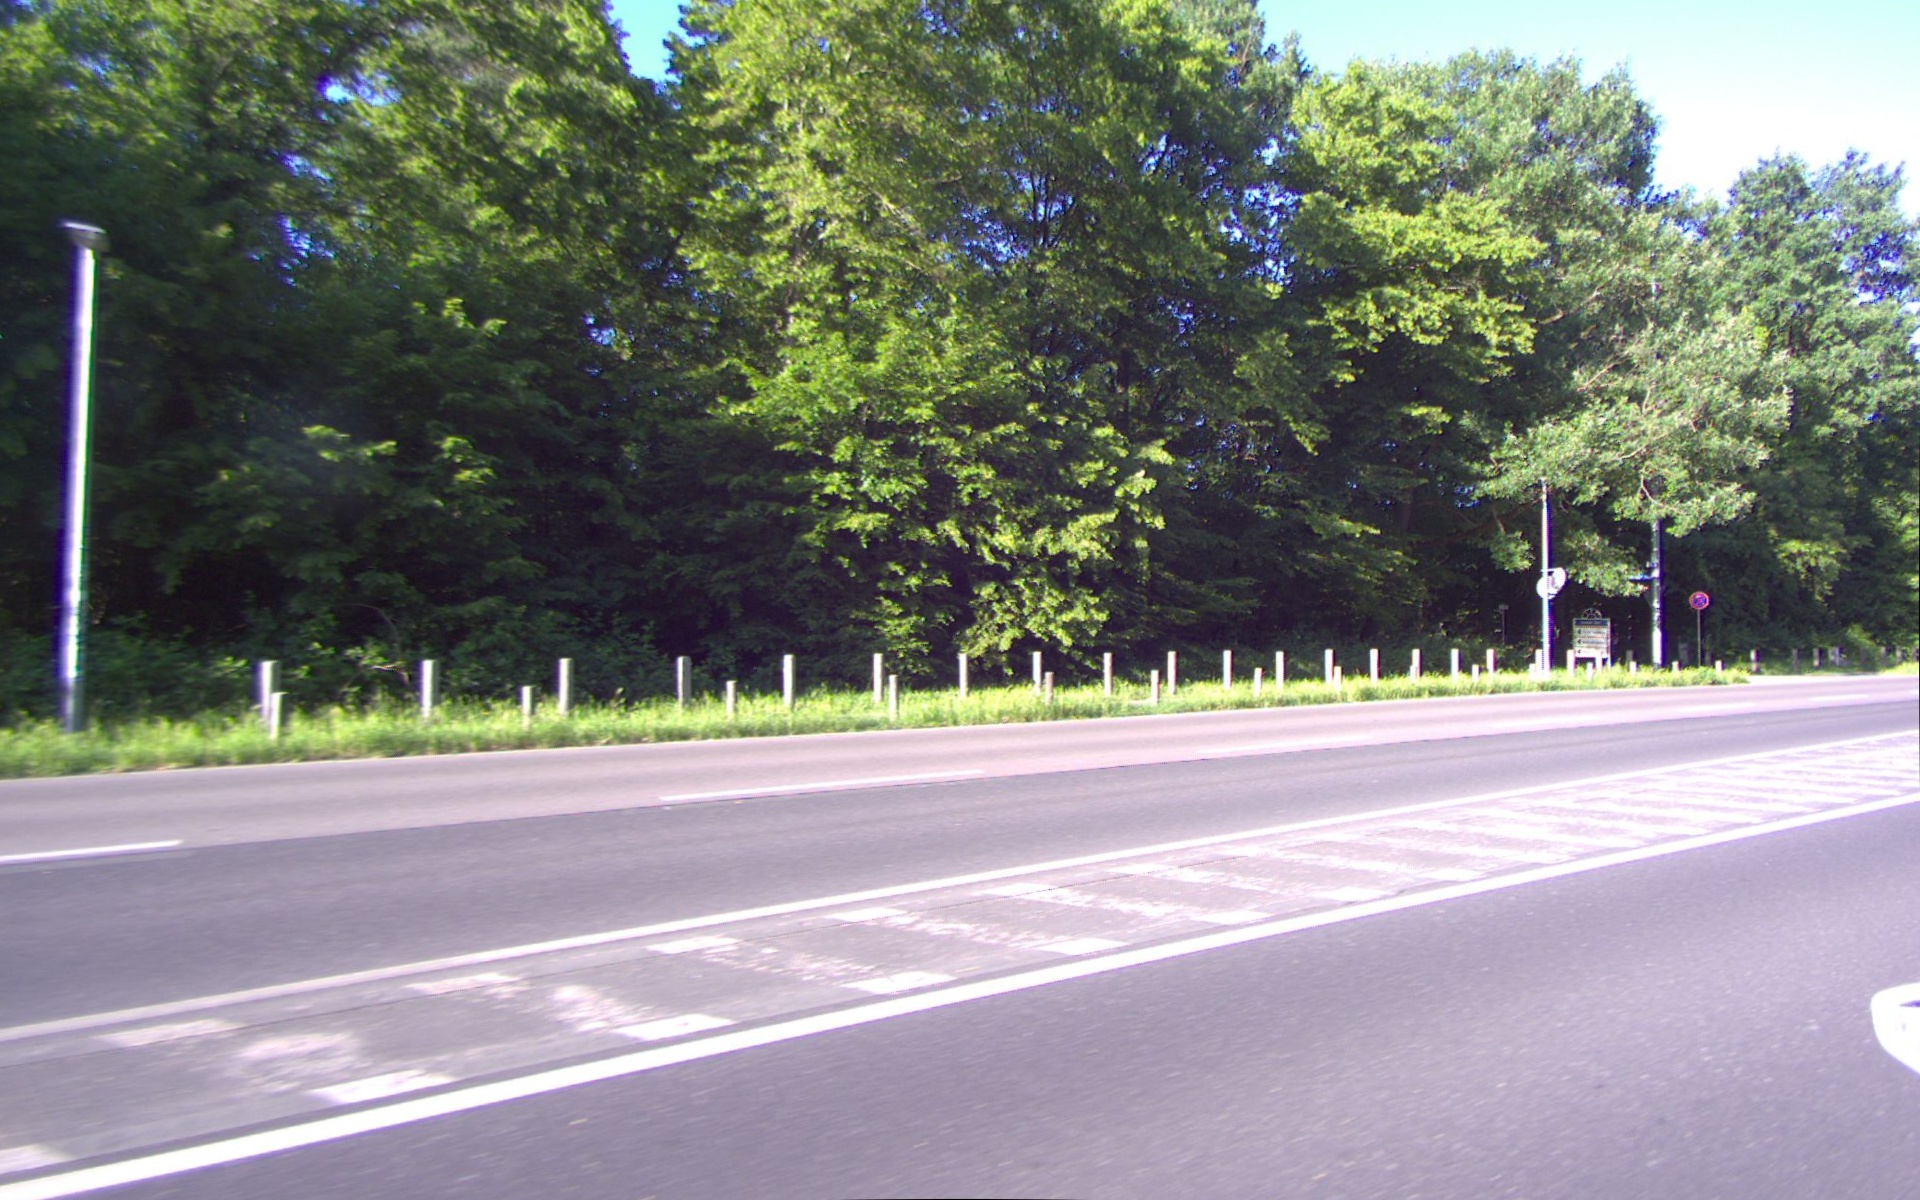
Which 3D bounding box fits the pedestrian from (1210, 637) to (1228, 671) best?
[{"bbox_3d":[13.632,2.851,52.872,0.695,1.769,0.649,1,-1,-27],"label":"pedestrian"}]
